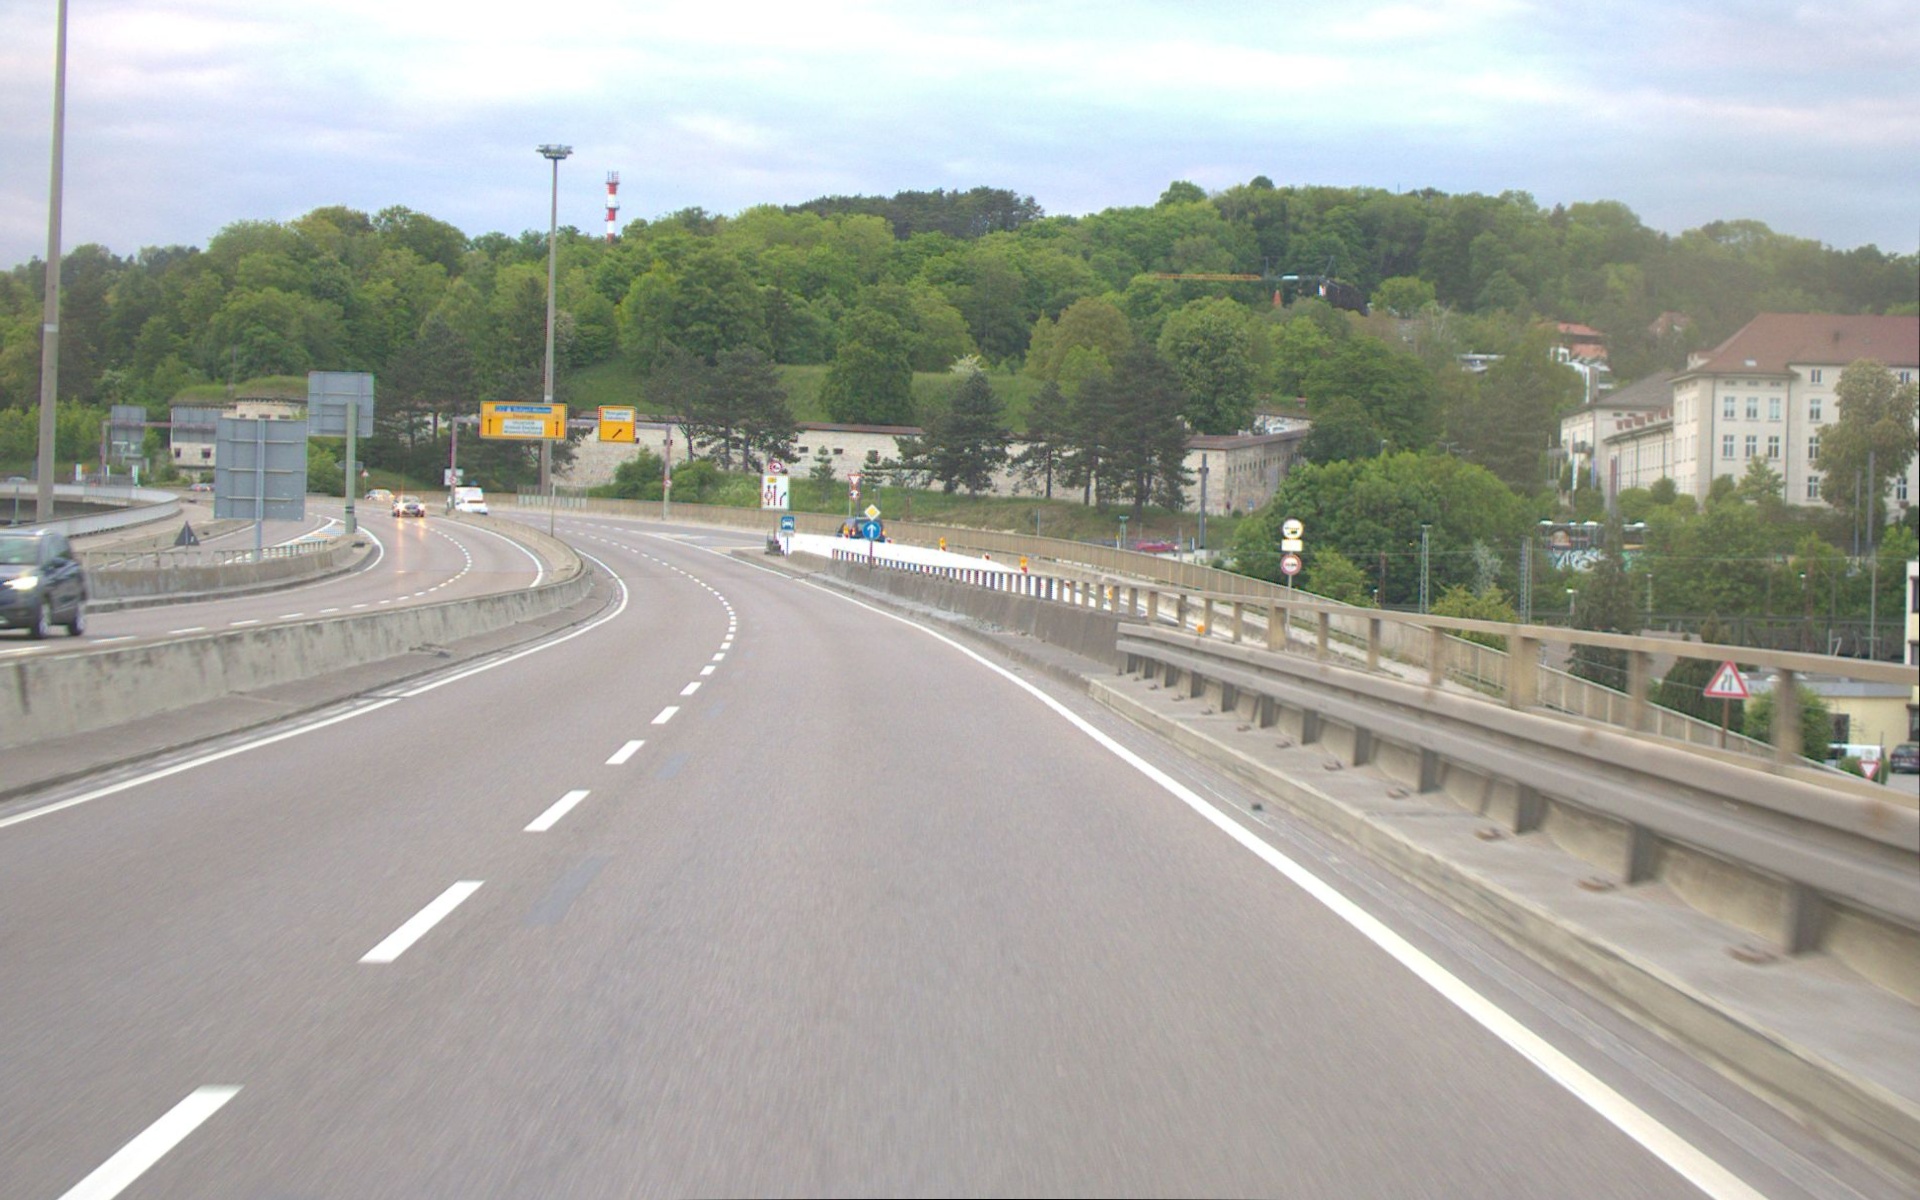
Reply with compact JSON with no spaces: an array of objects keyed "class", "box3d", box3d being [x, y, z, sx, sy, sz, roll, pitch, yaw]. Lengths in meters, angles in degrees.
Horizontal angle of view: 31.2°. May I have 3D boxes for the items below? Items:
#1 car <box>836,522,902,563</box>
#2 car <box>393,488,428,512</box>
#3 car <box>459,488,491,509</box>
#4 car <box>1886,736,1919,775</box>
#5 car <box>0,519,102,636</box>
[{"class":"car","box3d":[-4.411,-2.784,166.230,2.304,1.757,4.264,2,2,-13]},{"class":"car","box3d":[-36.509,-6.626,228.312,1.828,1.475,4.288,1,1,-15]},{"class":"car","box3d":[-33.795,-7.058,239.340,1.630,1.383,4.002,0,3,-17]},{"class":"car","box3d":[46.069,7.454,163.306,3.987,1.560,1.832,5,3,-37]},{"class":"car","box3d":[-13.792,-0.352,49.518,1.976,1.600,4.442,1,1,-4]}]
